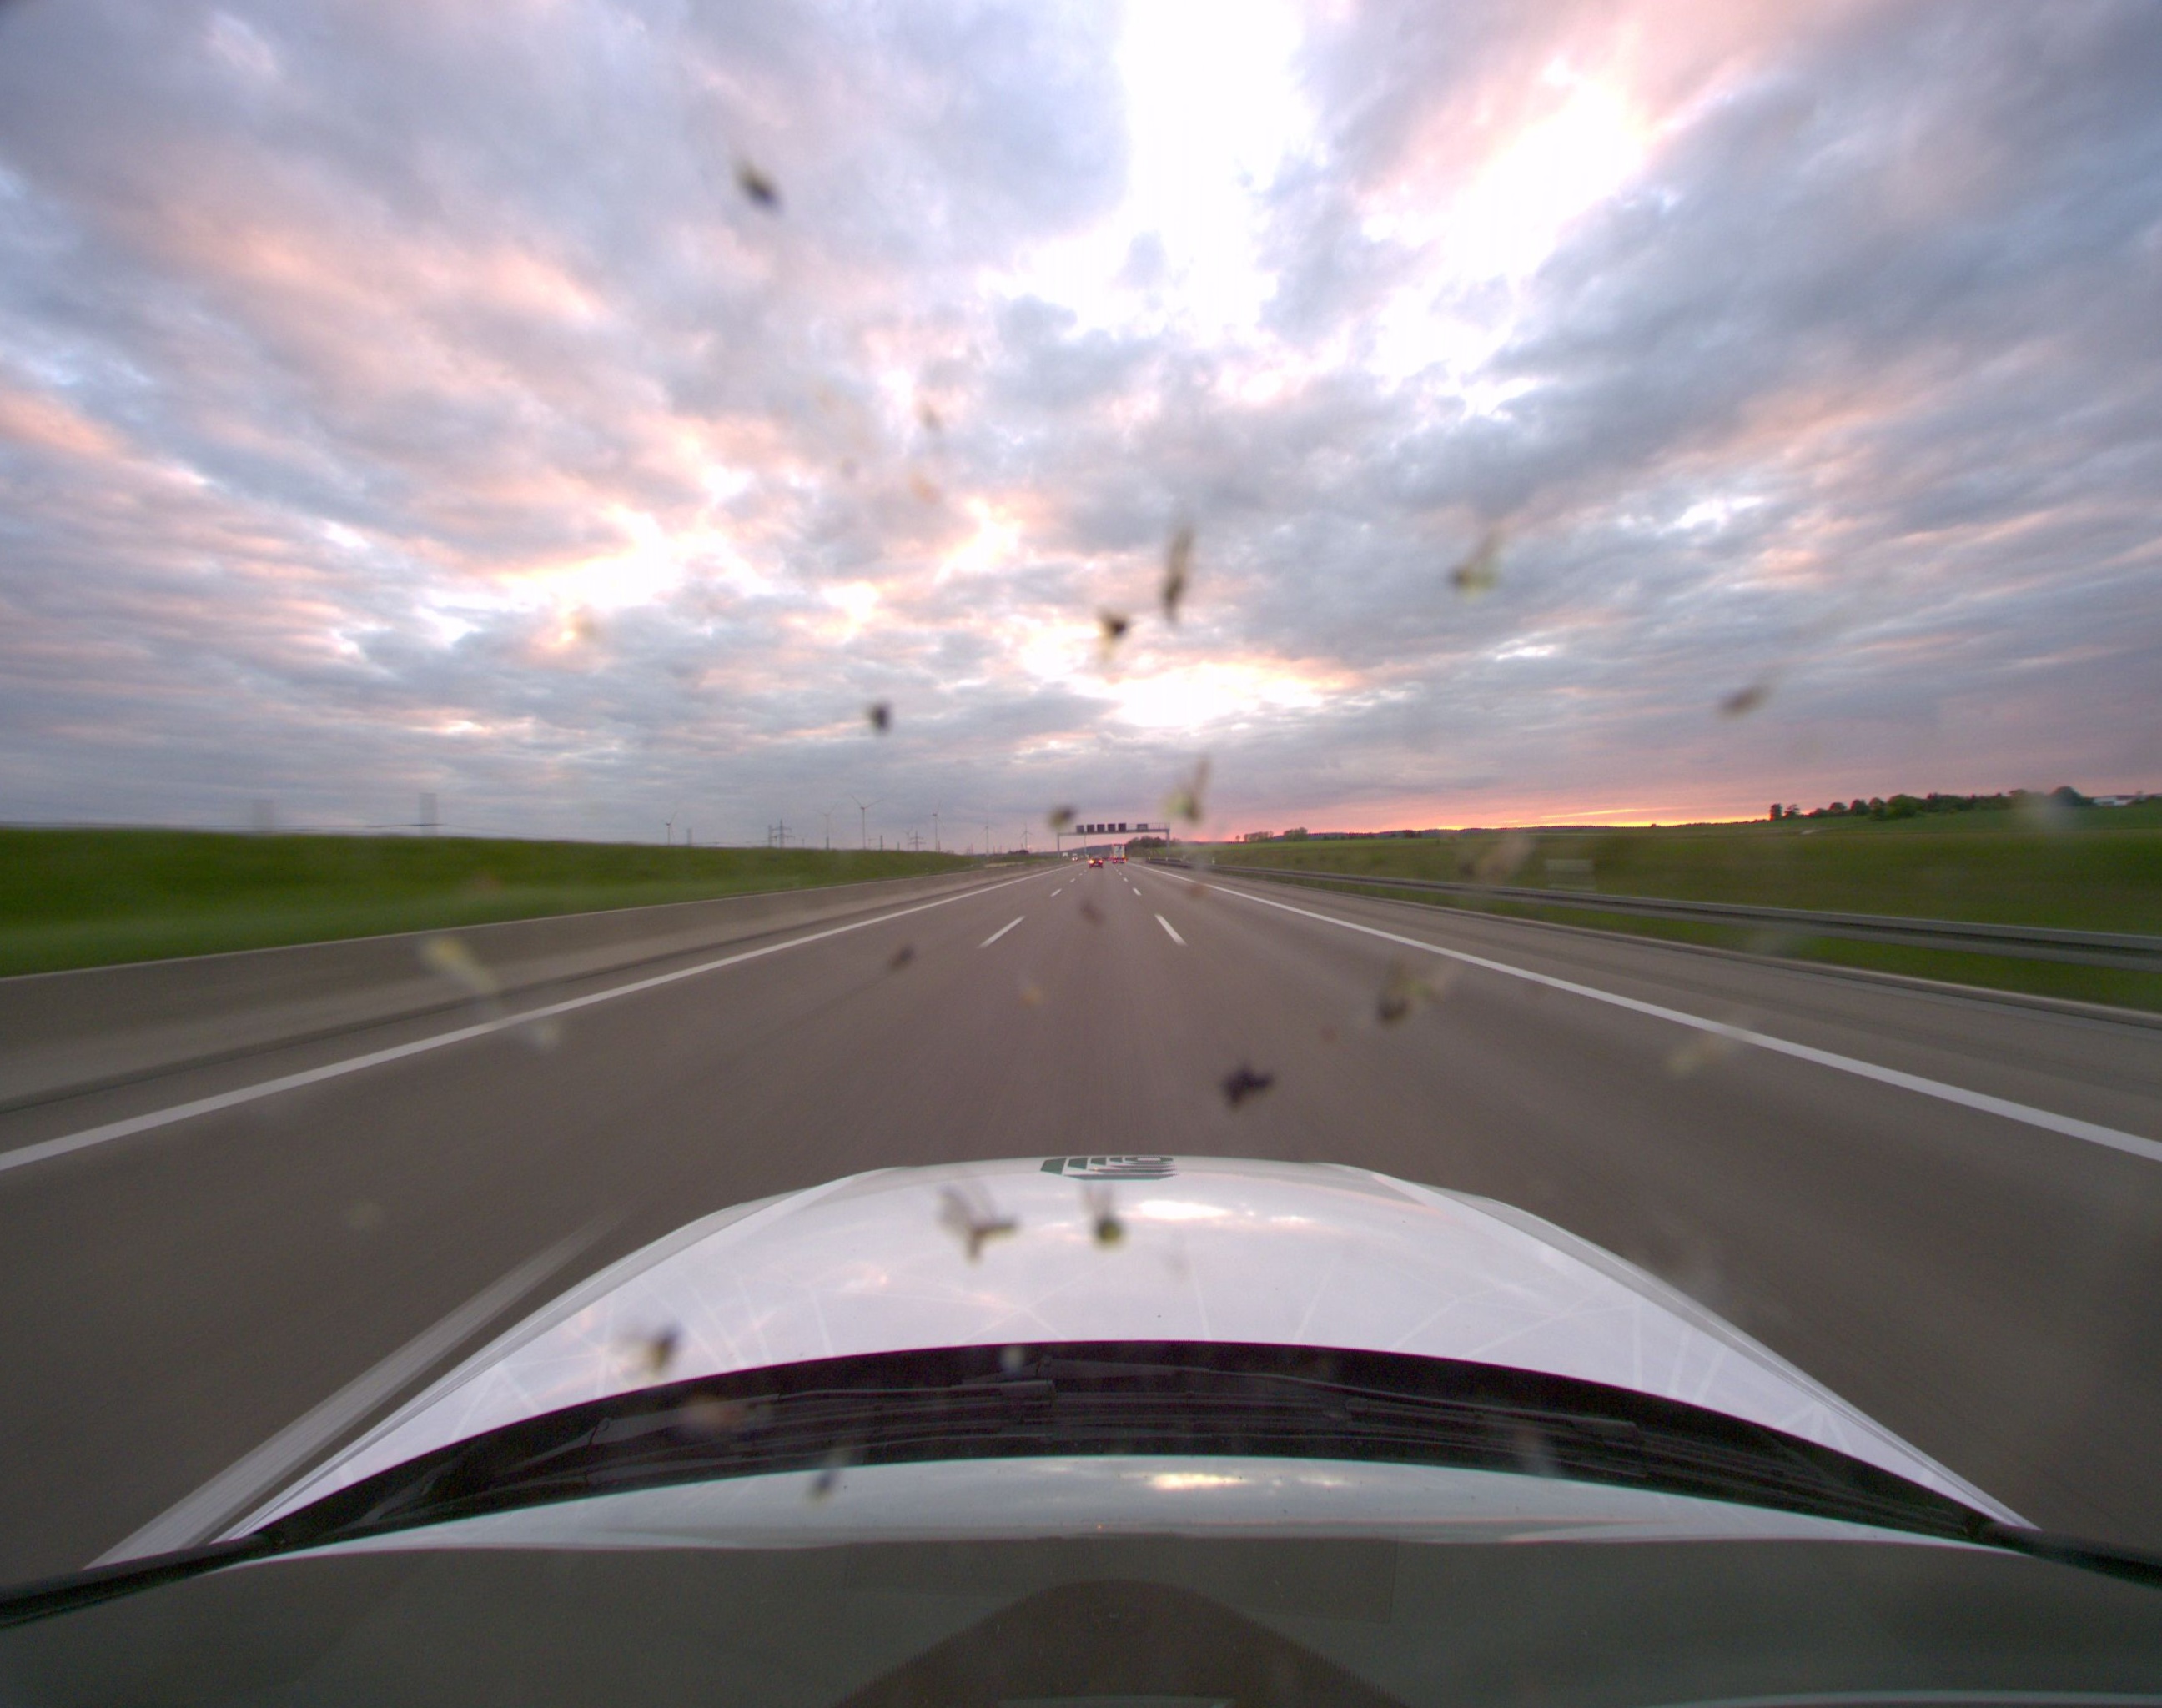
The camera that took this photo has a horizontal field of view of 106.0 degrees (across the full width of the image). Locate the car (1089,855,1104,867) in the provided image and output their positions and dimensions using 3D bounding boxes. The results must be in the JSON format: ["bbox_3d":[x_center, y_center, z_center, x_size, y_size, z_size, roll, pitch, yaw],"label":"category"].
[{"bbox_3d":[2.060,0.960,107.103,1.980,1.429,4.001,-2,0,1],"label":"car"}]

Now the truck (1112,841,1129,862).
[{"bbox_3d":[8.754,-0.521,182.651,3.661,4.565,10.986,-1,0,2],"label":"truck"}]
